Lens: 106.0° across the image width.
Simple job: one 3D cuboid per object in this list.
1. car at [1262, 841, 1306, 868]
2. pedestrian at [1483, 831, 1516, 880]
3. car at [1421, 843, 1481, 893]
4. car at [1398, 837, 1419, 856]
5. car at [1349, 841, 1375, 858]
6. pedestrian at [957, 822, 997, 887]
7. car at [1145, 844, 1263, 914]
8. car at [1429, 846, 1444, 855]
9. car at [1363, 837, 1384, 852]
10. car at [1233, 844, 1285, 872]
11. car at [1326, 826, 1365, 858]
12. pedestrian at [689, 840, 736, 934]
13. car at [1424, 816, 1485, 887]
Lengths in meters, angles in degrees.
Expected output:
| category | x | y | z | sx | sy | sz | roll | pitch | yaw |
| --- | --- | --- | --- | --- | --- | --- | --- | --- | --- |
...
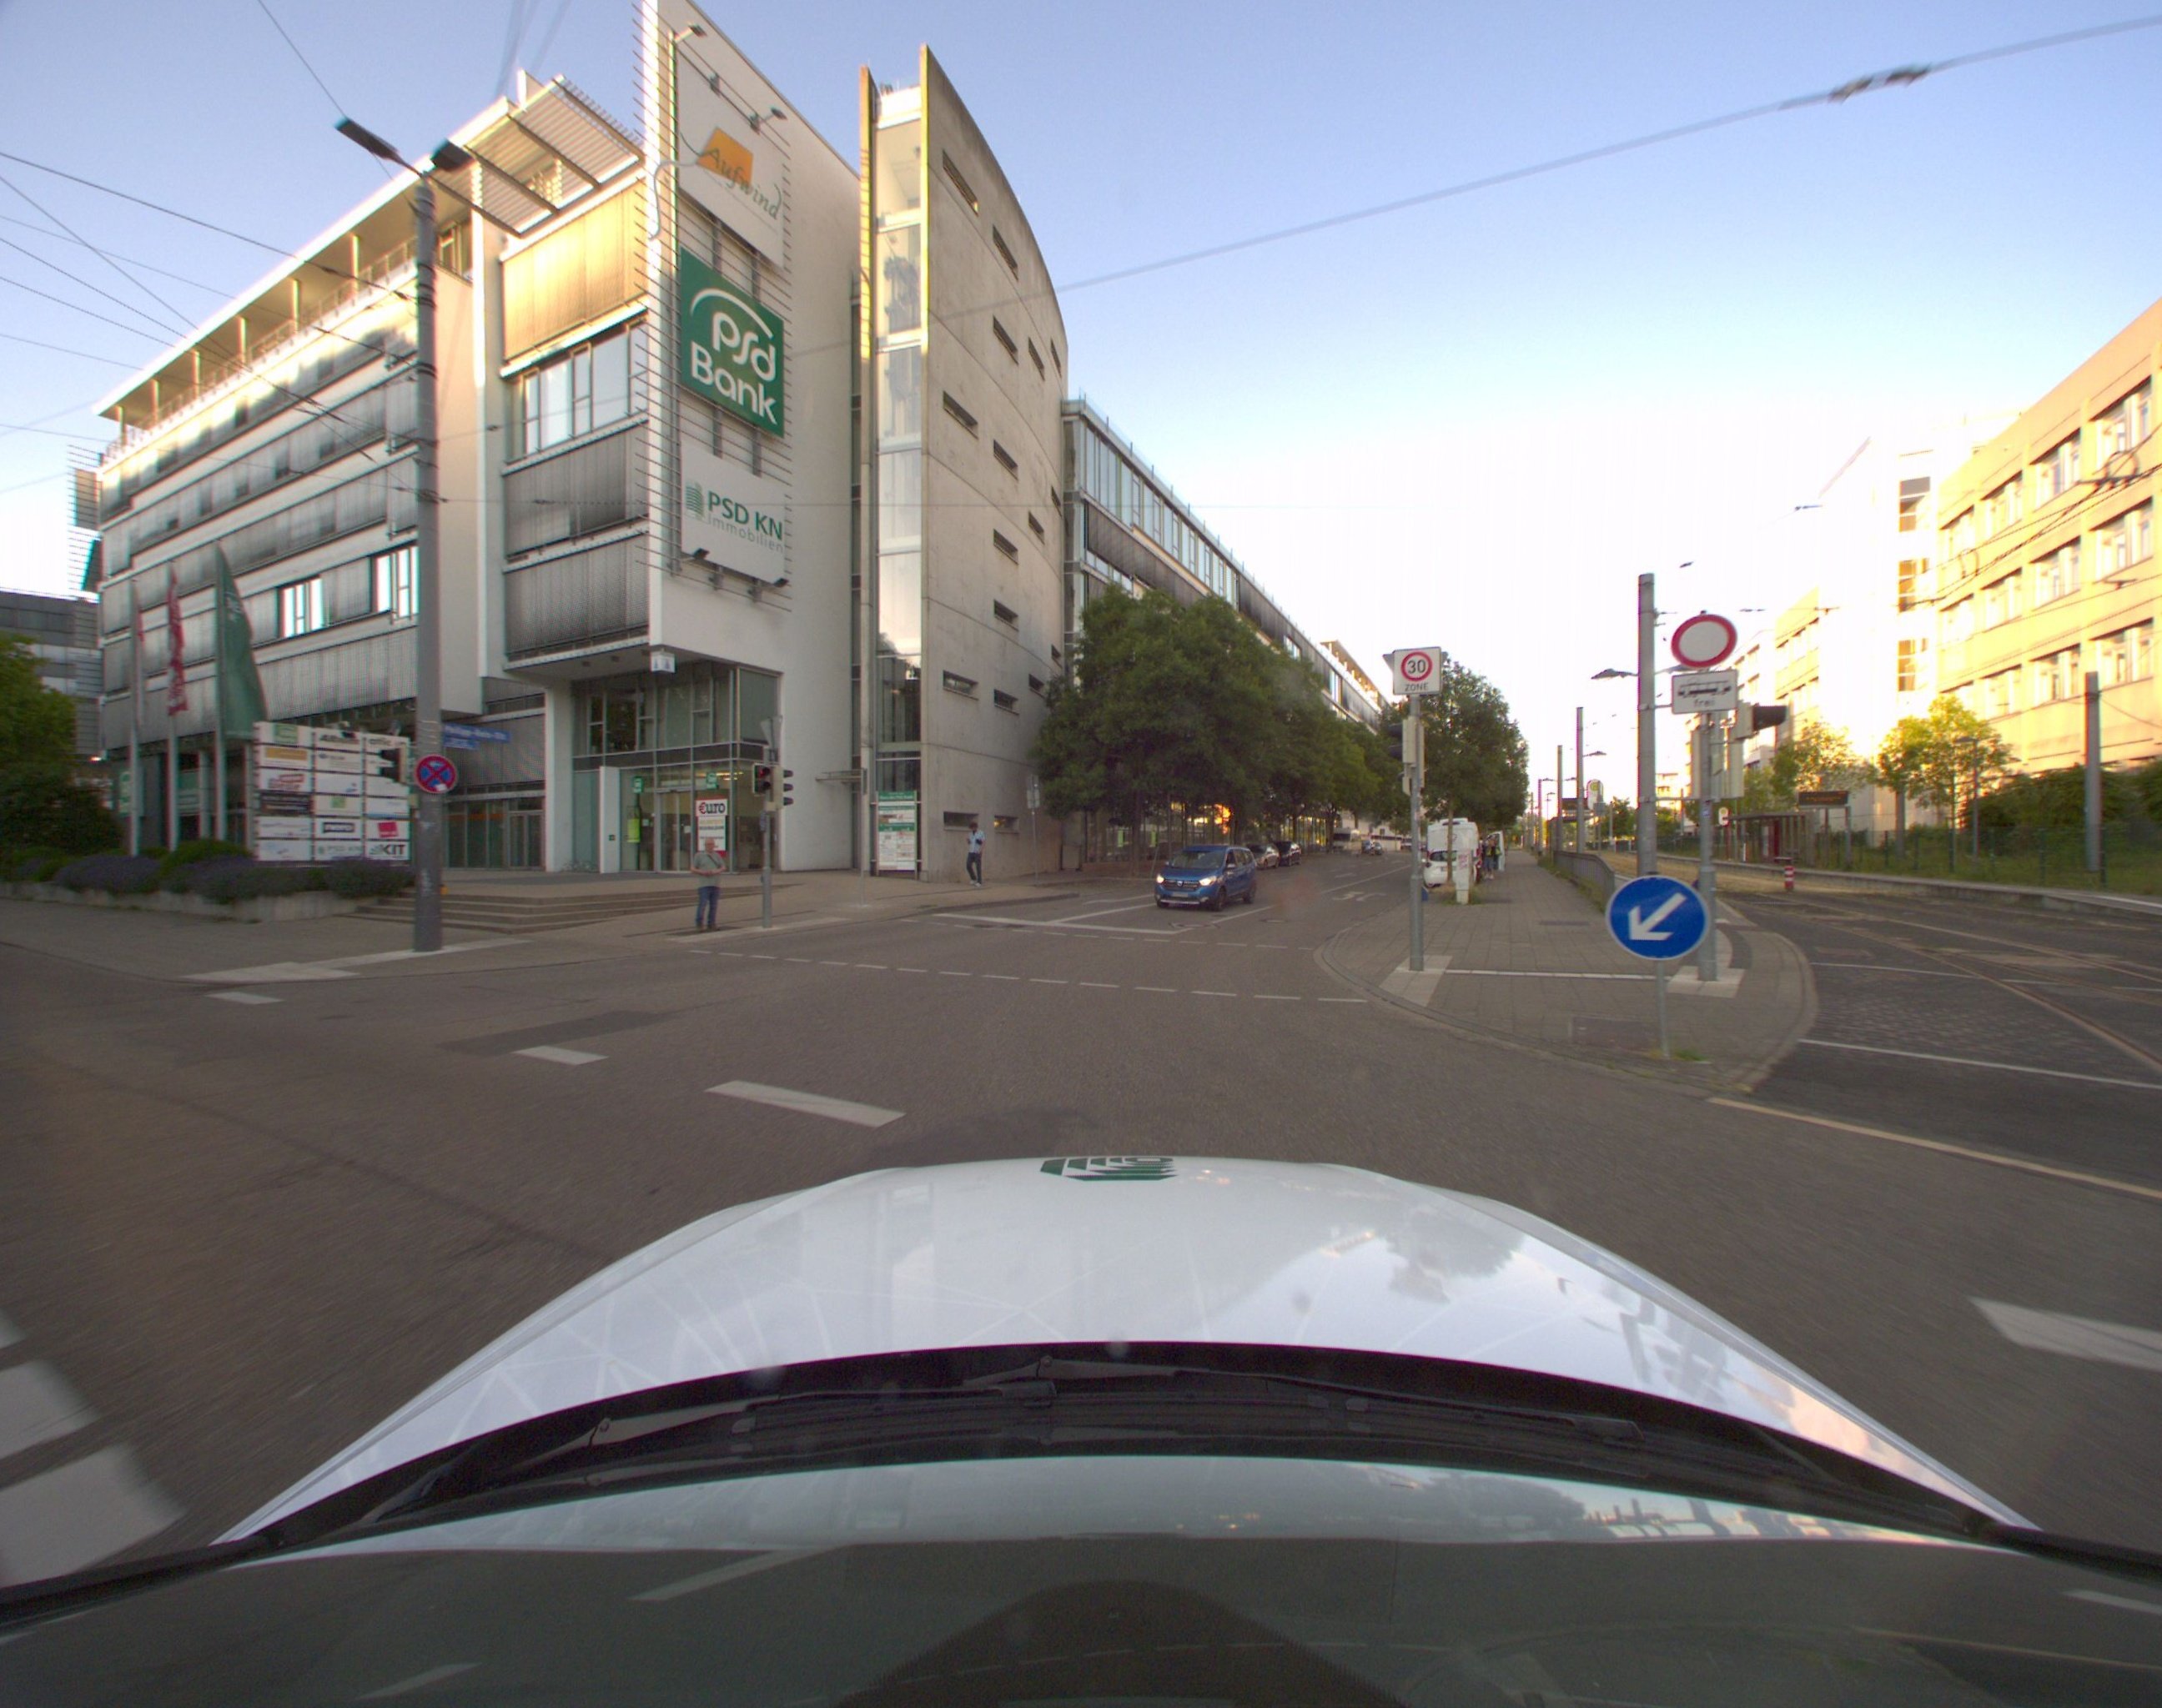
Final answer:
| category | x | y | z | sx | sy | sz | roll | pitch | yaw |
| --- | --- | --- | --- | --- | --- | --- | --- | --- | --- |
| car | 12.827 | -0.025 | 51.257 | 1.575 | 1.568 | 4.498 | 4 | 2 | 27 |
| pedestrian | 17.675 | 0.050 | 34.414 | 0.978 | 2.013 | 0.803 | 0 | 0 | -17 |
| car | 13.288 | 0.461 | 29.156 | 1.731 | 1.583 | 4.037 | -3 | -1 | 26 |
| car | 47.655 | -1.140 | 118.458 | 1.940 | 2.616 | 6.935 | 2 | 2 | 29 |
| car | 27.971 | -0.456 | 80.984 | 1.827 | 1.571 | 4.293 | 0 | 1 | 28 |
| pedestrian | -3.187 | 0.008 | 25.024 | 0.692 | 1.882 | 0.883 | 7 | 3 | 21 |
| car | 3.438 | 0.586 | 22.084 | 1.731 | 1.678 | 4.299 | 1 | 1 | 29 |
| car | 62.830 | -0.587 | 143.971 | 1.706 | 1.457 | 4.298 | 3 | 2 | 34 |
| car | 30.636 | -1.014 | 85.289 | 1.699 | 1.452 | 4.424 | 0 | 1 | 24 |
| car | 10.157 | 0.184 | 46.204 | 1.688 | 1.461 | 4.655 | 4 | 2 | 27 |
| car | 23.154 | -1.043 | 71.055 | 2.081 | 2.663 | 6.993 | 0 | 1 | 28 |
| pedestrian | -6.834 | 0.587 | 15.096 | 0.710 | 1.701 | 0.540 | 0 | 0 | -35 |
| car | 15.735 | -0.102 | 34.163 | 2.032 | 2.657 | 5.466 | -3 | -1 | 26 |
